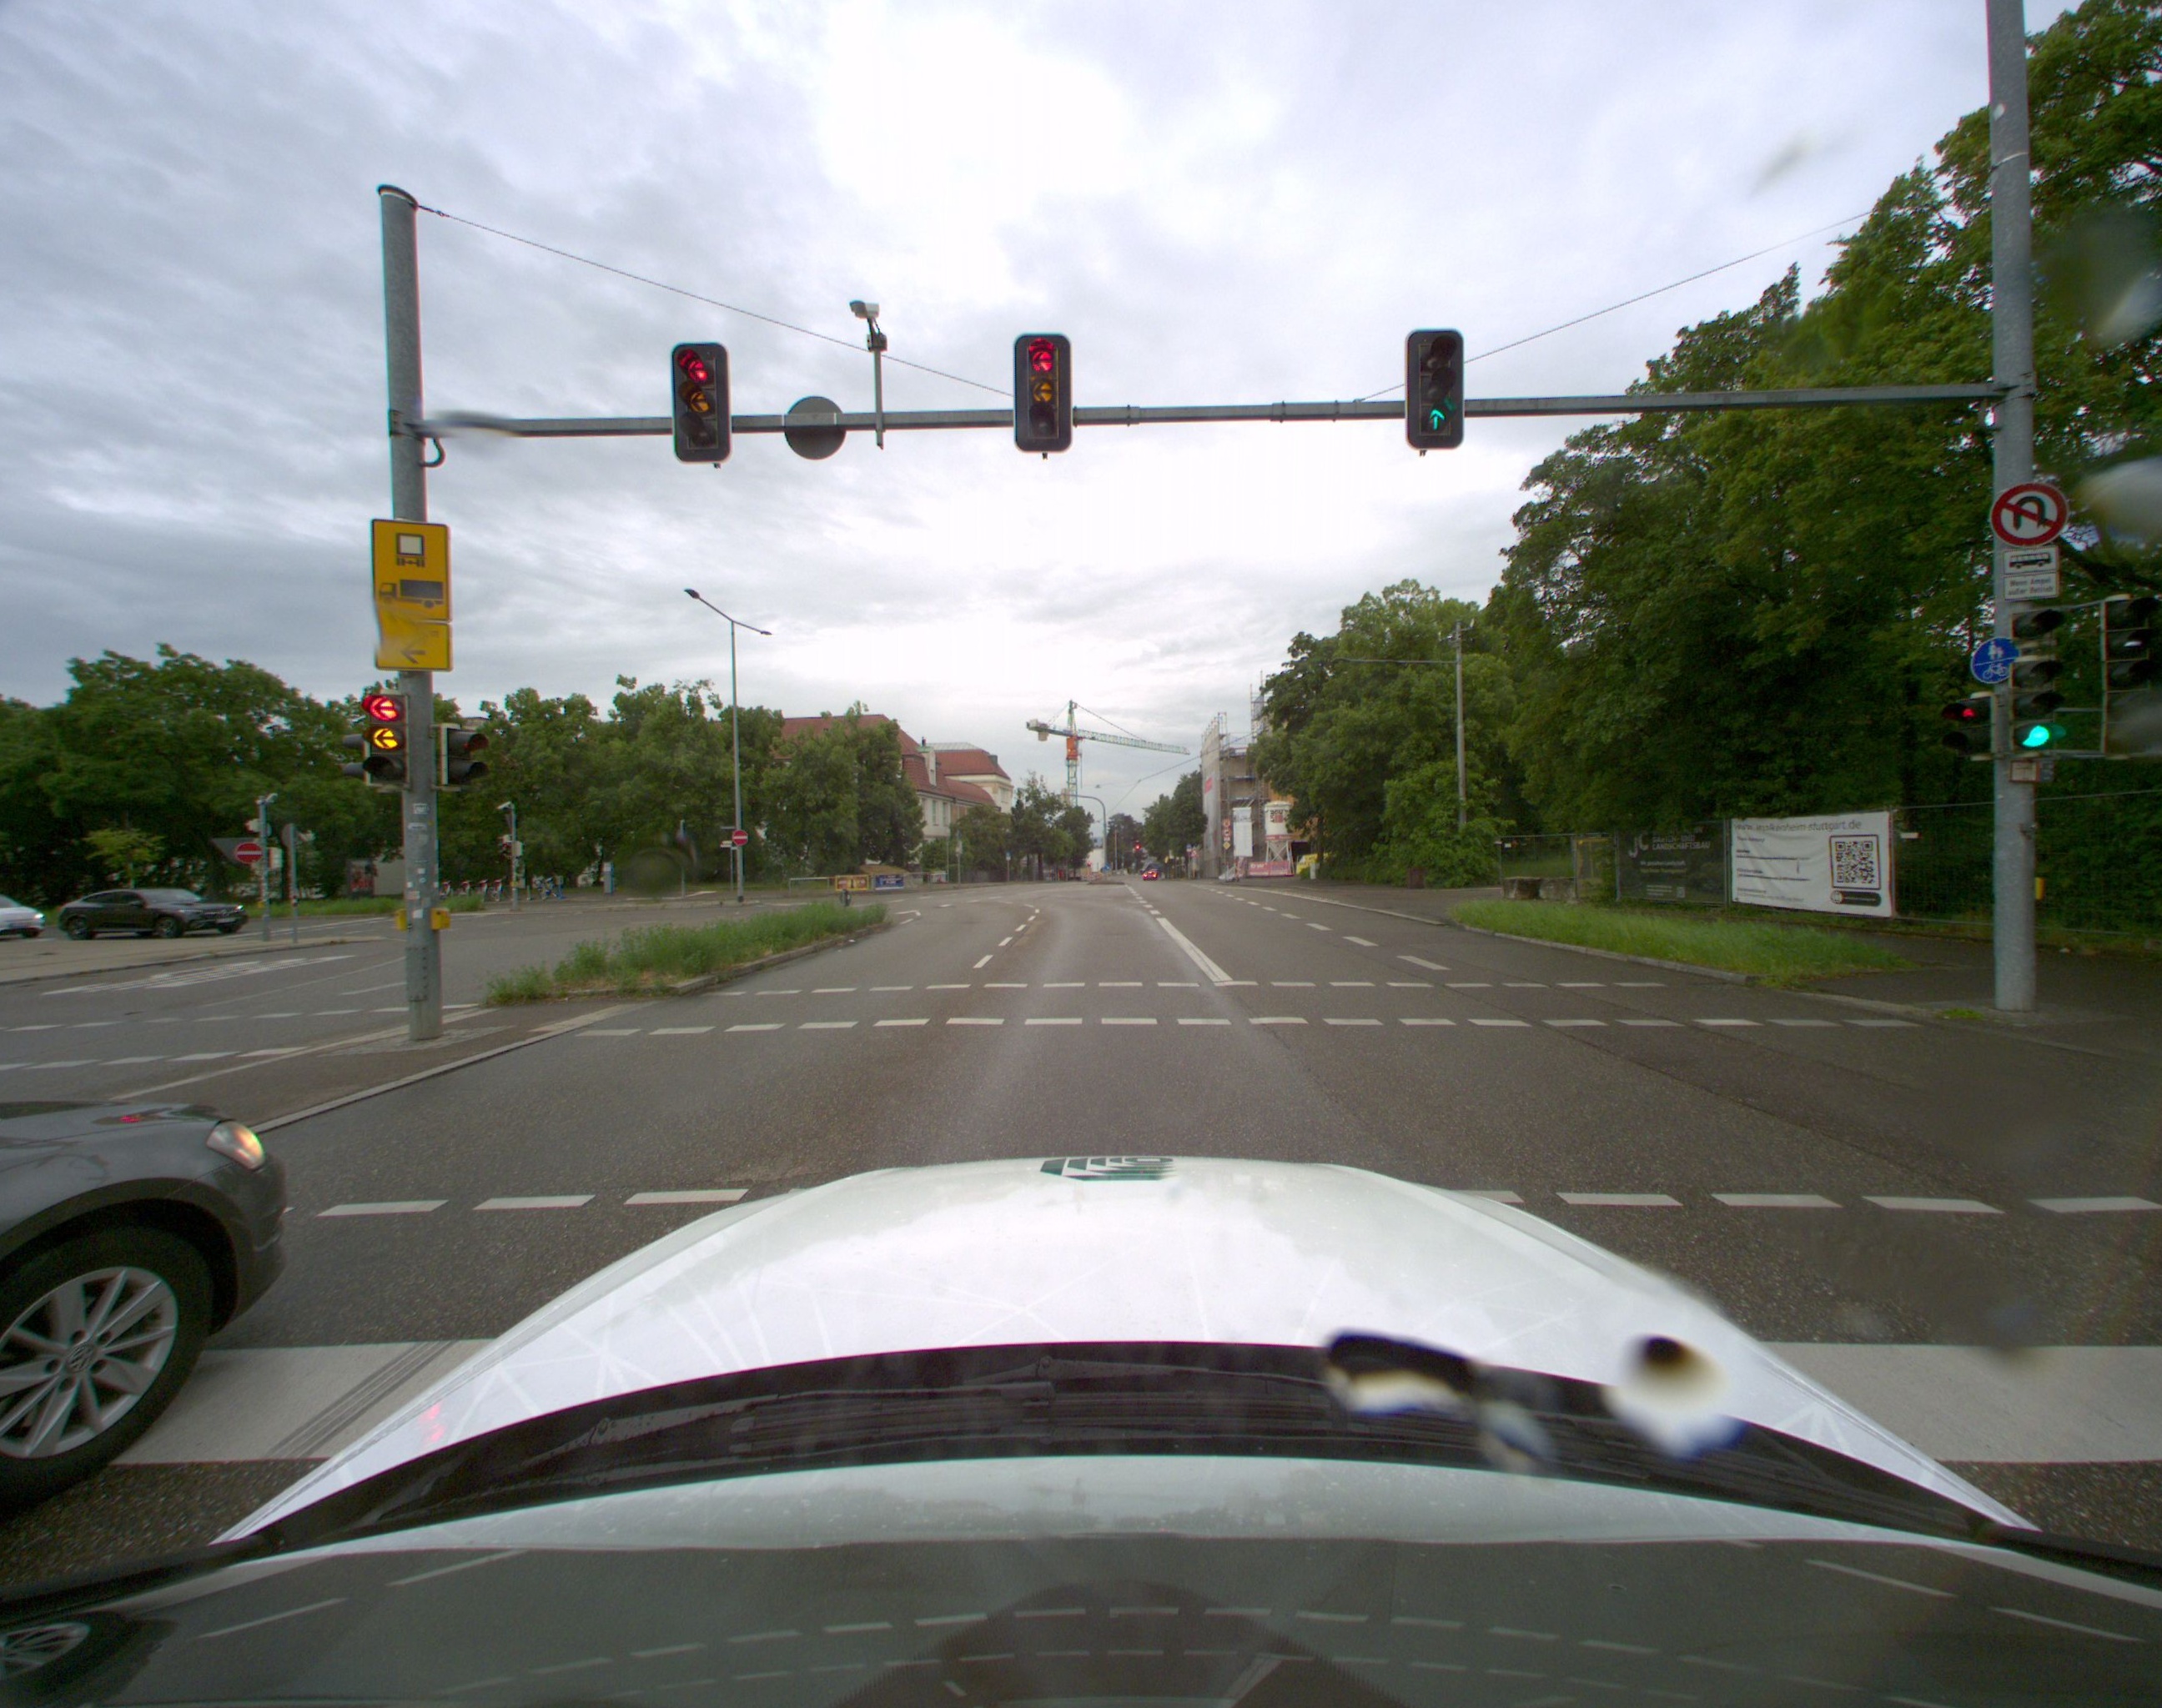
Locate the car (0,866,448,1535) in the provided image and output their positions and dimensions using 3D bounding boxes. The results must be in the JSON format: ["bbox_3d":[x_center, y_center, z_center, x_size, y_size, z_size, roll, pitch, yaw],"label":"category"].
[{"bbox_3d":[-3.369,0.803,0.885,1.809,1.481,4.378,-2,0,2],"label":"car"}]

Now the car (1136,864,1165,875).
[{"bbox_3d":[15.529,3.365,182.555,6.216,2.403,2.826,0,-1,-37],"label":"car"}]

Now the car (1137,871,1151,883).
[{"bbox_3d":[10.211,3.674,131.398,1.986,1.750,4.001,-2,0,1],"label":"car"}]

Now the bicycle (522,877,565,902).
[{"bbox_3d":[-29.437,1.935,44.610,0.987,1.249,1.982,0,-1,2],"label":"bicycle"}]

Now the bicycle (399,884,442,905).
[{"bbox_3d":[-35.965,2.181,44.361,0.649,1.071,1.982,0,-1,2],"label":"bicycle"}]

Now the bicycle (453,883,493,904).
[{"bbox_3d":[-33.019,2.121,44.270,0.649,1.071,1.982,0,-1,2],"label":"bicycle"}]

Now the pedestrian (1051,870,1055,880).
[{"bbox_3d":[-4.485,3.287,129.041,0.489,1.645,0.536,-1,-1,18],"label":"pedestrian"}]

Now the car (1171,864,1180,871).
[{"bbox_3d":[25.494,3.526,218.937,1.980,1.750,4.014,-2,0,13],"label":"car"}]

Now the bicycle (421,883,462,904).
[{"bbox_3d":[-34.988,2.145,44.576,0.649,1.071,1.982,0,-1,2],"label":"bicycle"}]

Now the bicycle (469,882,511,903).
[{"bbox_3d":[-32.270,2.070,44.501,0.798,1.071,1.982,0,-1,2],"label":"bicycle"}]

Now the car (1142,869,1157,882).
[{"bbox_3d":[10.466,3.276,124.750,1.986,1.750,4.001,-2,0,1],"label":"car"}]

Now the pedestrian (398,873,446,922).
[{"bbox_3d":[-23.844,1.560,29.479,0.917,1.727,0.949,-1,-1,10],"label":"pedestrian"}]

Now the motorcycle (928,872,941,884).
[{"bbox_3d":[-11.787,1.930,65.388,0.846,0.877,0.877,0,-1,1],"label":"motorcycle"}]

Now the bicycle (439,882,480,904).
[{"bbox_3d":[-33.909,2.117,44.445,0.649,1.071,1.982,0,-1,2],"label":"bicycle"}]

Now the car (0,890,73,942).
[{"bbox_3d":[-36.497,2.038,27.045,3.539,1.594,2.001,0,-1,1],"label":"car"}]

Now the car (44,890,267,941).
[{"bbox_3d":[-30.076,1.986,26.581,5.006,1.500,2.001,0,-1,1],"label":"car"}]
